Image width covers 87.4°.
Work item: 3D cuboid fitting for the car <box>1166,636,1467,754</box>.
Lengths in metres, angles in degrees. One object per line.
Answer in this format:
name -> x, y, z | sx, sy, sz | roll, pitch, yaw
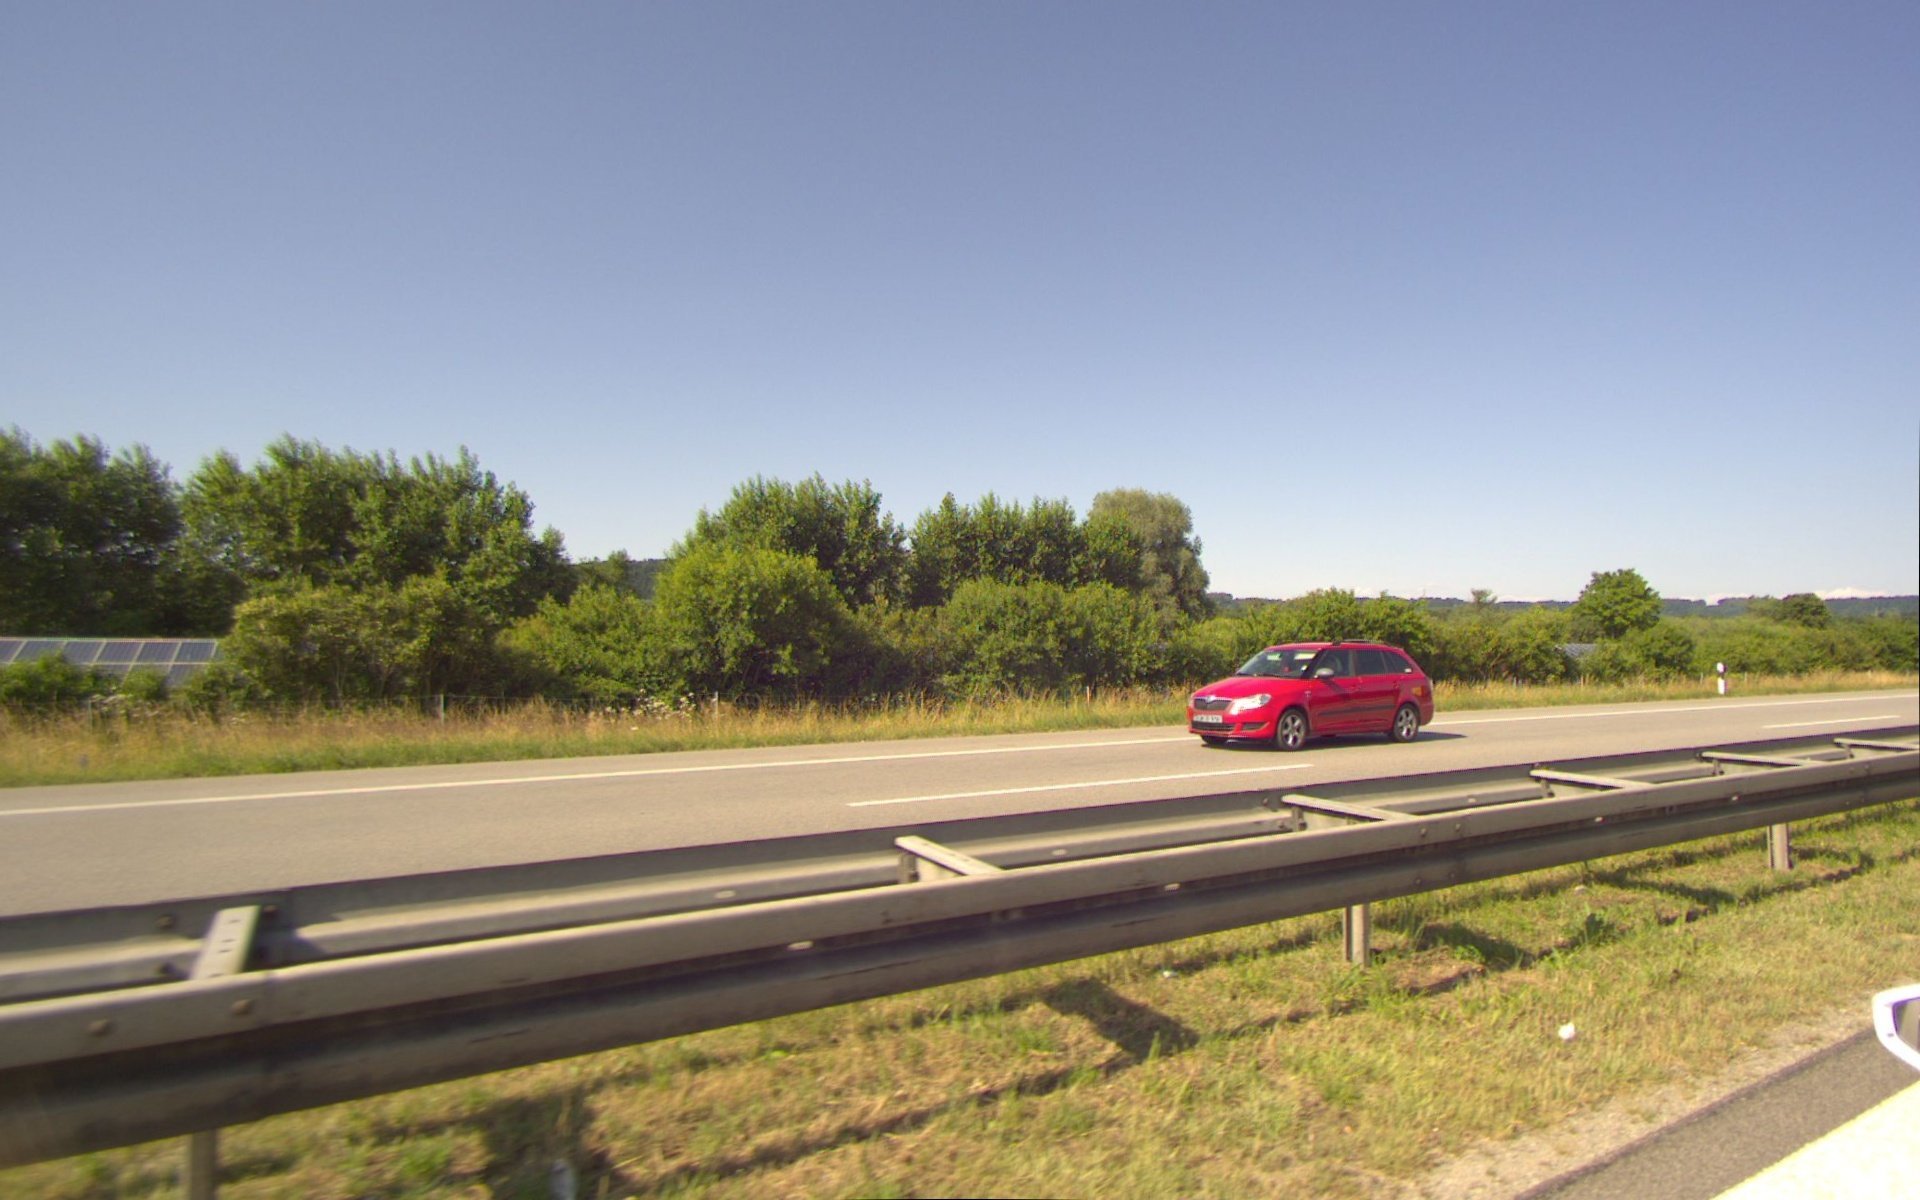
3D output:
car -> 5.356, 1.353, 14.969 | 4.425, 1.531, 1.723 | 2, -4, -29
